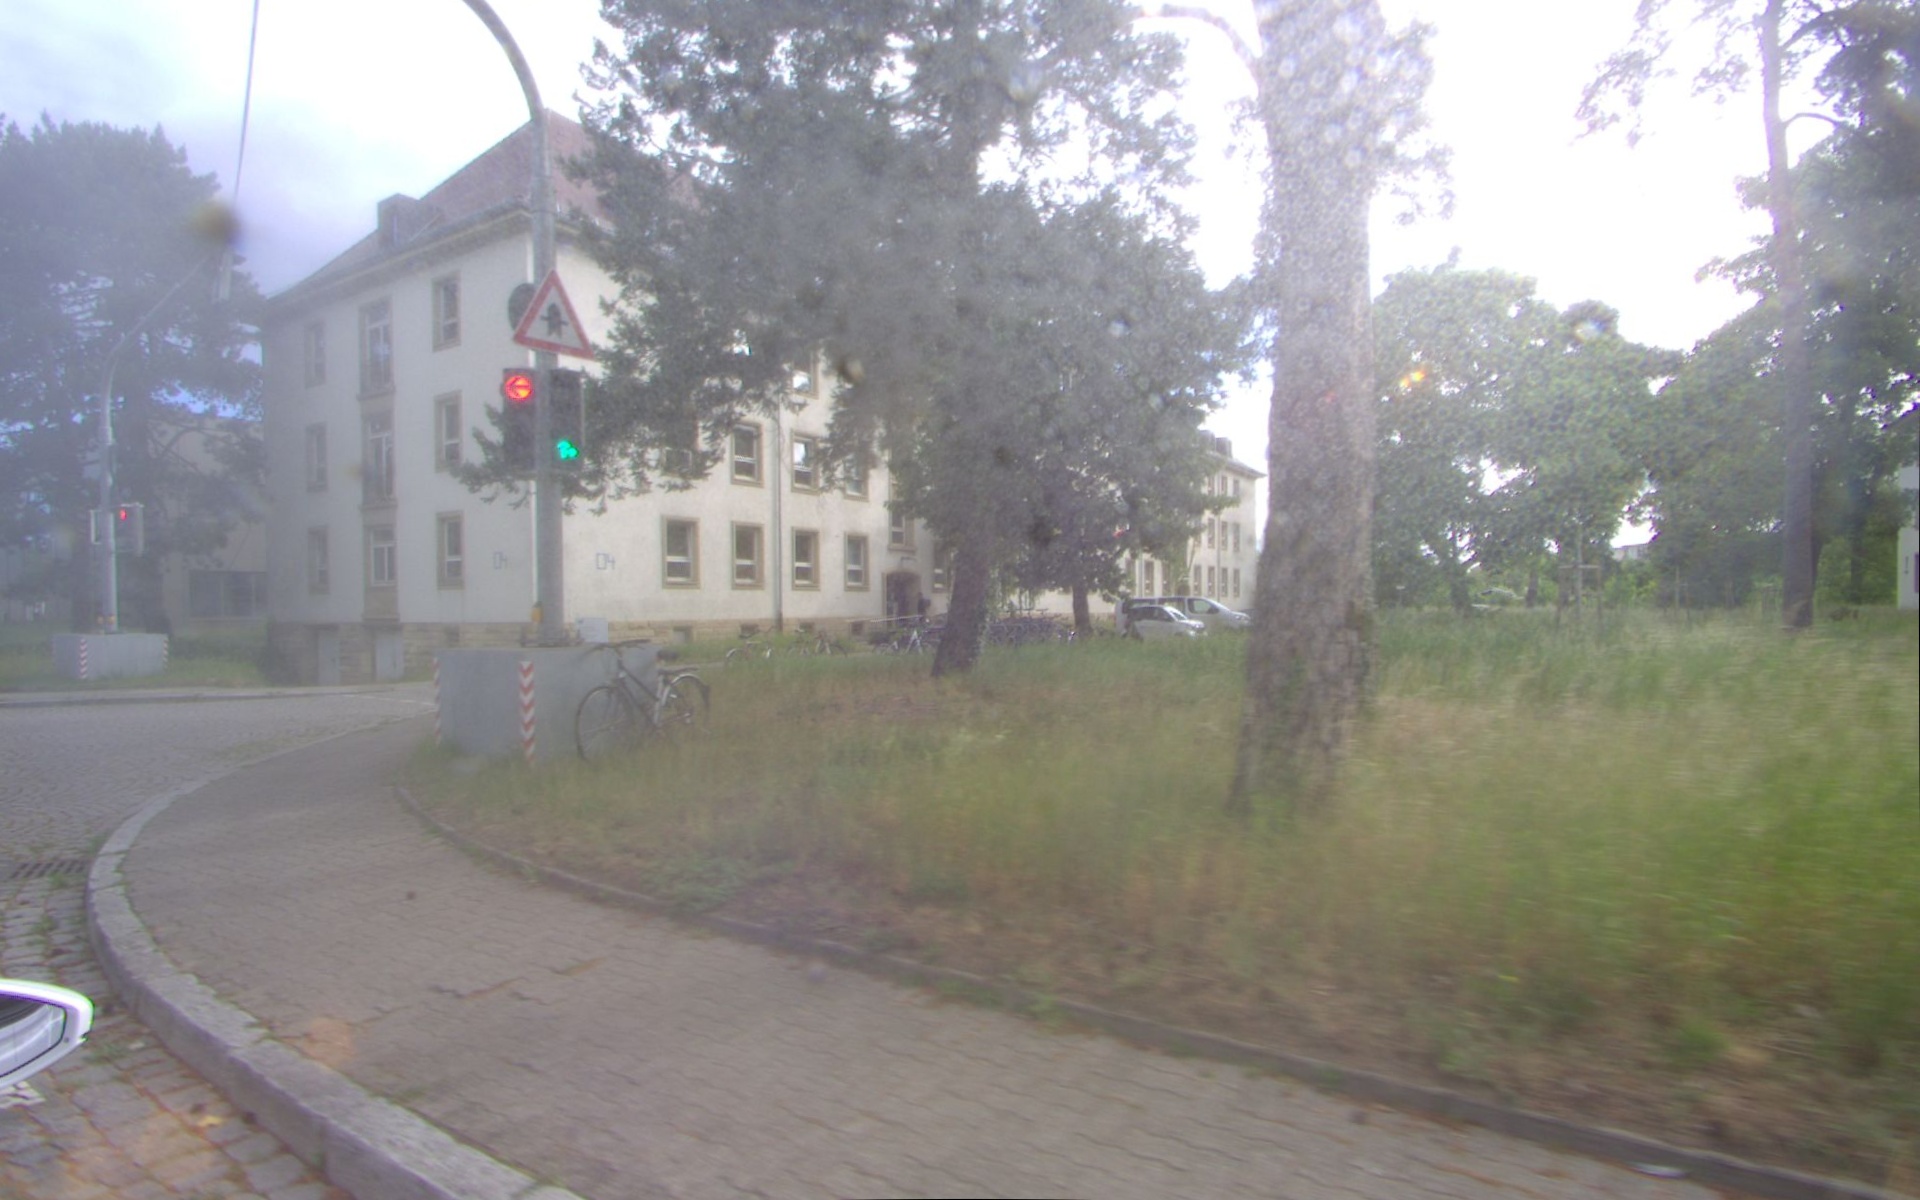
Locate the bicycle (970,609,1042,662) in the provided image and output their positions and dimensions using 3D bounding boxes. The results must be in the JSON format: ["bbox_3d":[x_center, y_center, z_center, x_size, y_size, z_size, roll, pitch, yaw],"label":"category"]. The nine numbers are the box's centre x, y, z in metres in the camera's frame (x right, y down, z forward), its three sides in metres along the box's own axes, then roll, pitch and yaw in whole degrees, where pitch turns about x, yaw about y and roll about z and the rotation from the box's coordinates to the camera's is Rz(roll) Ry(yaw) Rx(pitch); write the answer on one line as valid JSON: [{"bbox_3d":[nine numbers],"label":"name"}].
[{"bbox_3d":[1.174,0.909,25.986,1.914,1.337,0.551,0,0,39],"label":"bicycle"}]

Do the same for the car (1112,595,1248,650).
[{"bbox_3d":[8.267,0.818,37.509,4.776,1.935,2.236,0,0,19],"label":"car"}]

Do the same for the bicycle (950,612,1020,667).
[{"bbox_3d":[0.609,0.961,24.995,1.895,1.337,0.390,0,0,39],"label":"bicycle"}]

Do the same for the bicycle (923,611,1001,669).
[{"bbox_3d":[0.034,0.937,24.131,1.951,1.337,0.574,0,0,39],"label":"bicycle"}]

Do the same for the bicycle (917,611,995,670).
[{"bbox_3d":[-0.119,0.921,23.550,2.022,1.337,0.435,0,0,39],"label":"bicycle"}]

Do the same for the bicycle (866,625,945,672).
[{"bbox_3d":[-1.219,1.057,22.202,1.879,0.962,0.539,0,0,39],"label":"bicycle"}]

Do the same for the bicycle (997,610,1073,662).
[{"bbox_3d":[1.998,0.937,26.793,2.106,1.337,0.552,0,0,39],"label":"bicycle"}]

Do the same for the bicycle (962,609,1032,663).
[{"bbox_3d":[0.924,0.896,25.421,1.830,1.337,0.553,0,0,39],"label":"bicycle"}]

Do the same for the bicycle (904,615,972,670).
[{"bbox_3d":[-0.527,0.972,23.217,1.619,1.231,0.539,0,0,39],"label":"bicycle"}]

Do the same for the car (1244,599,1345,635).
[{"bbox_3d":[17.309,0.860,51.947,4.631,1.796,1.988,0,0,35],"label":"car"}]

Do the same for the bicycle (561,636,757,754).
[{"bbox_3d":[-2.601,0.789,8.829,0.565,0.886,1.695,0,0,34],"label":"bicycle"}]

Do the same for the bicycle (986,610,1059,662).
[{"bbox_3d":[1.631,0.924,26.357,1.991,1.337,0.538,0,0,39],"label":"bicycle"}]

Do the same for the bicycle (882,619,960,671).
[{"bbox_3d":[-0.903,1.002,22.775,1.879,1.116,0.539,0,0,39],"label":"bicycle"}]

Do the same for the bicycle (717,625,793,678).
[{"bbox_3d":[-4.117,1.014,20.183,0.523,0.993,1.617,0,0,32],"label":"bicycle"}]

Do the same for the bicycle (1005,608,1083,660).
[{"bbox_3d":[2.289,0.909,27.452,2.076,1.385,0.754,0,0,39],"label":"bicycle"}]

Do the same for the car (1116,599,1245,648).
[{"bbox_3d":[7.459,0.764,33.997,3.879,1.550,1.851,0,0,36],"label":"car"}]

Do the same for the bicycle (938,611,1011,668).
[{"bbox_3d":[0.339,0.952,24.635,1.896,1.337,0.503,0,0,39],"label":"bicycle"}]

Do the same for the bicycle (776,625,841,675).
[{"bbox_3d":[-3.271,1.064,21.725,0.535,1.028,1.533,0,0,32],"label":"bicycle"}]

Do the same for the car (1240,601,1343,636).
[{"bbox_3d":[16.152,0.901,48.883,4.455,1.639,1.988,0,0,35],"label":"car"}]

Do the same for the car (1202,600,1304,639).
[{"bbox_3d":[12.948,0.861,44.264,3.945,1.639,1.988,0,0,34],"label":"car"}]
